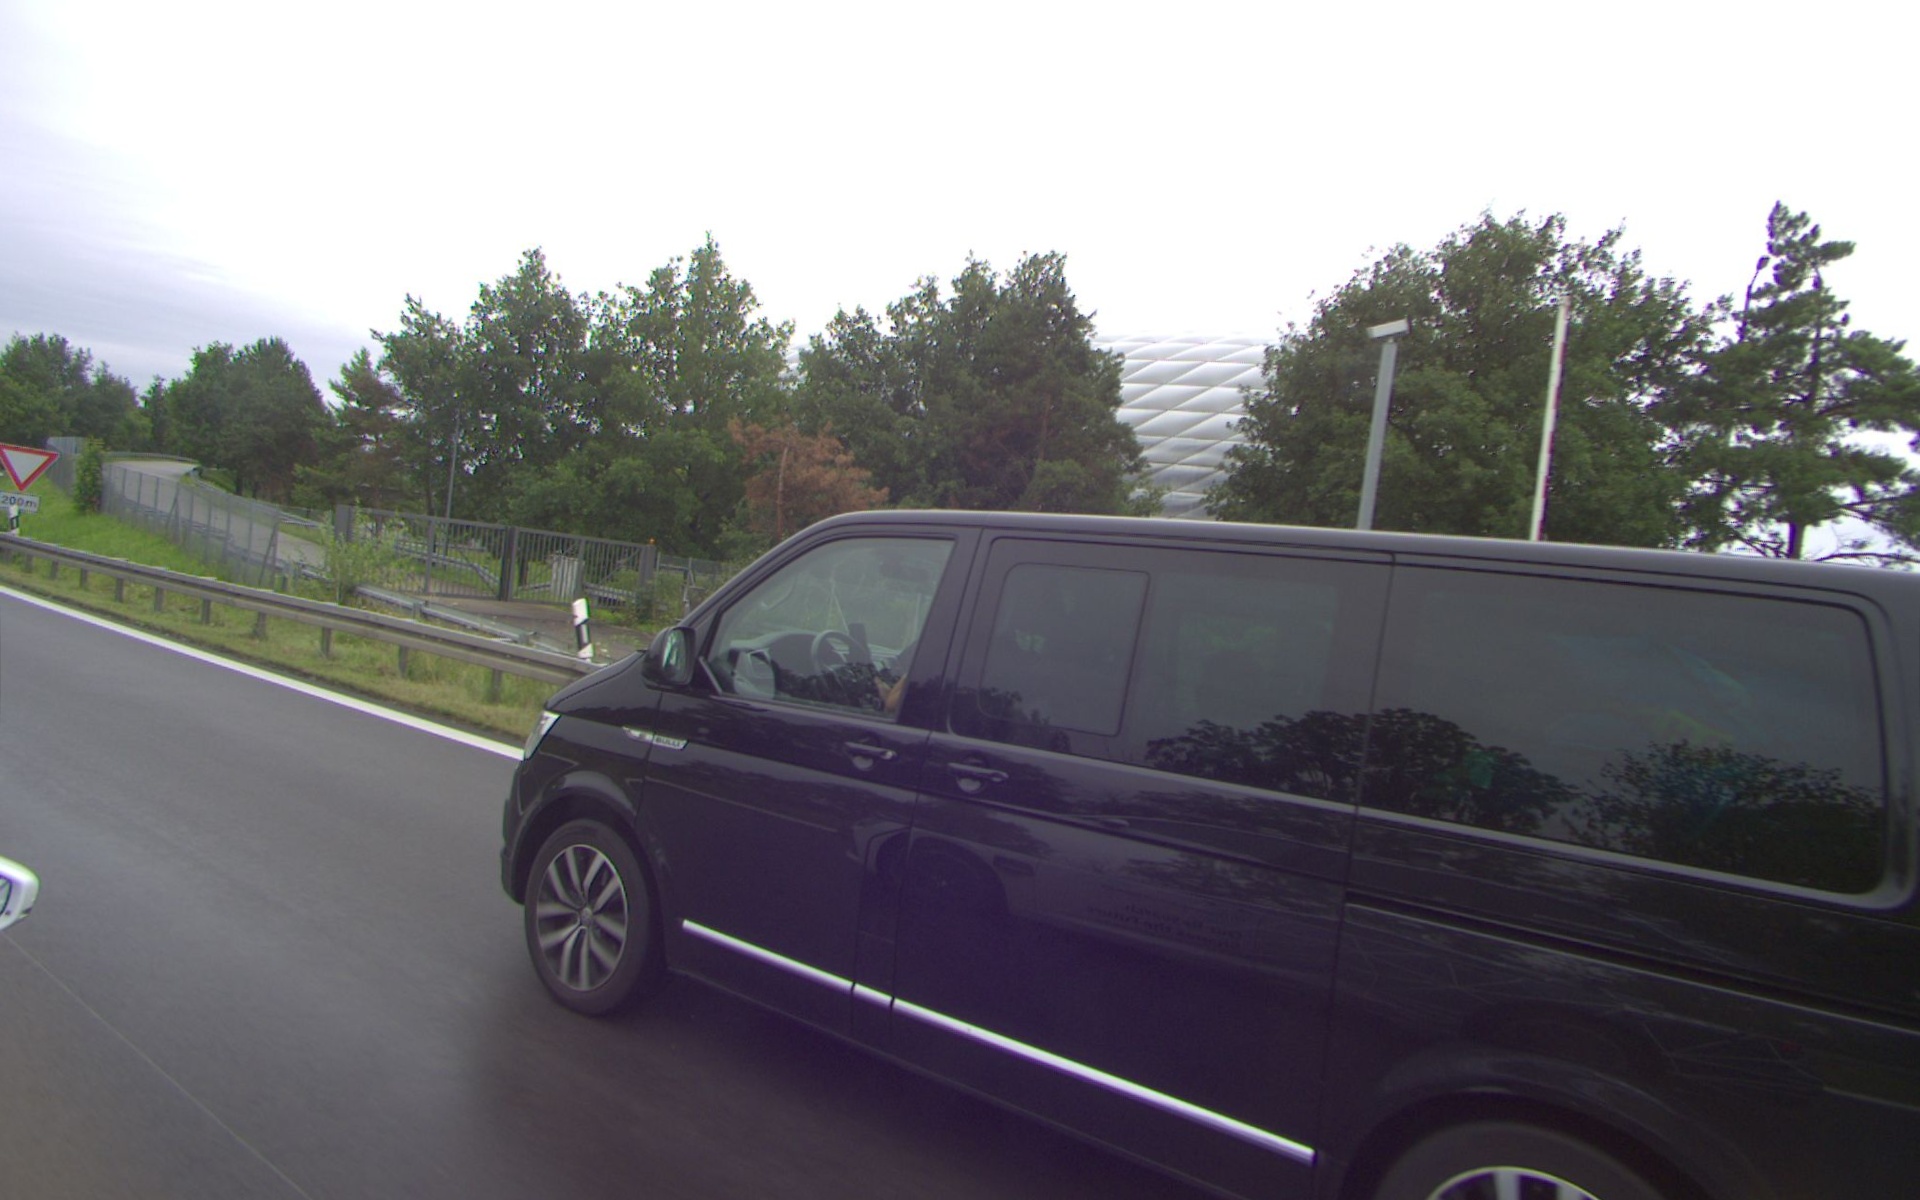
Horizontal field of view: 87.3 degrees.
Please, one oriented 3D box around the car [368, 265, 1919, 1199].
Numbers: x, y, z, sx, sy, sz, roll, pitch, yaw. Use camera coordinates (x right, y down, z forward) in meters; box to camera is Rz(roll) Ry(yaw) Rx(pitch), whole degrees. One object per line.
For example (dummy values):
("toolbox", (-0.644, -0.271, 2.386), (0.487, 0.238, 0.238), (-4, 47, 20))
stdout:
("car", (0.676, 0.511, 3.506), (5.800, 2.290, 2.114), (7, -2, 33))
